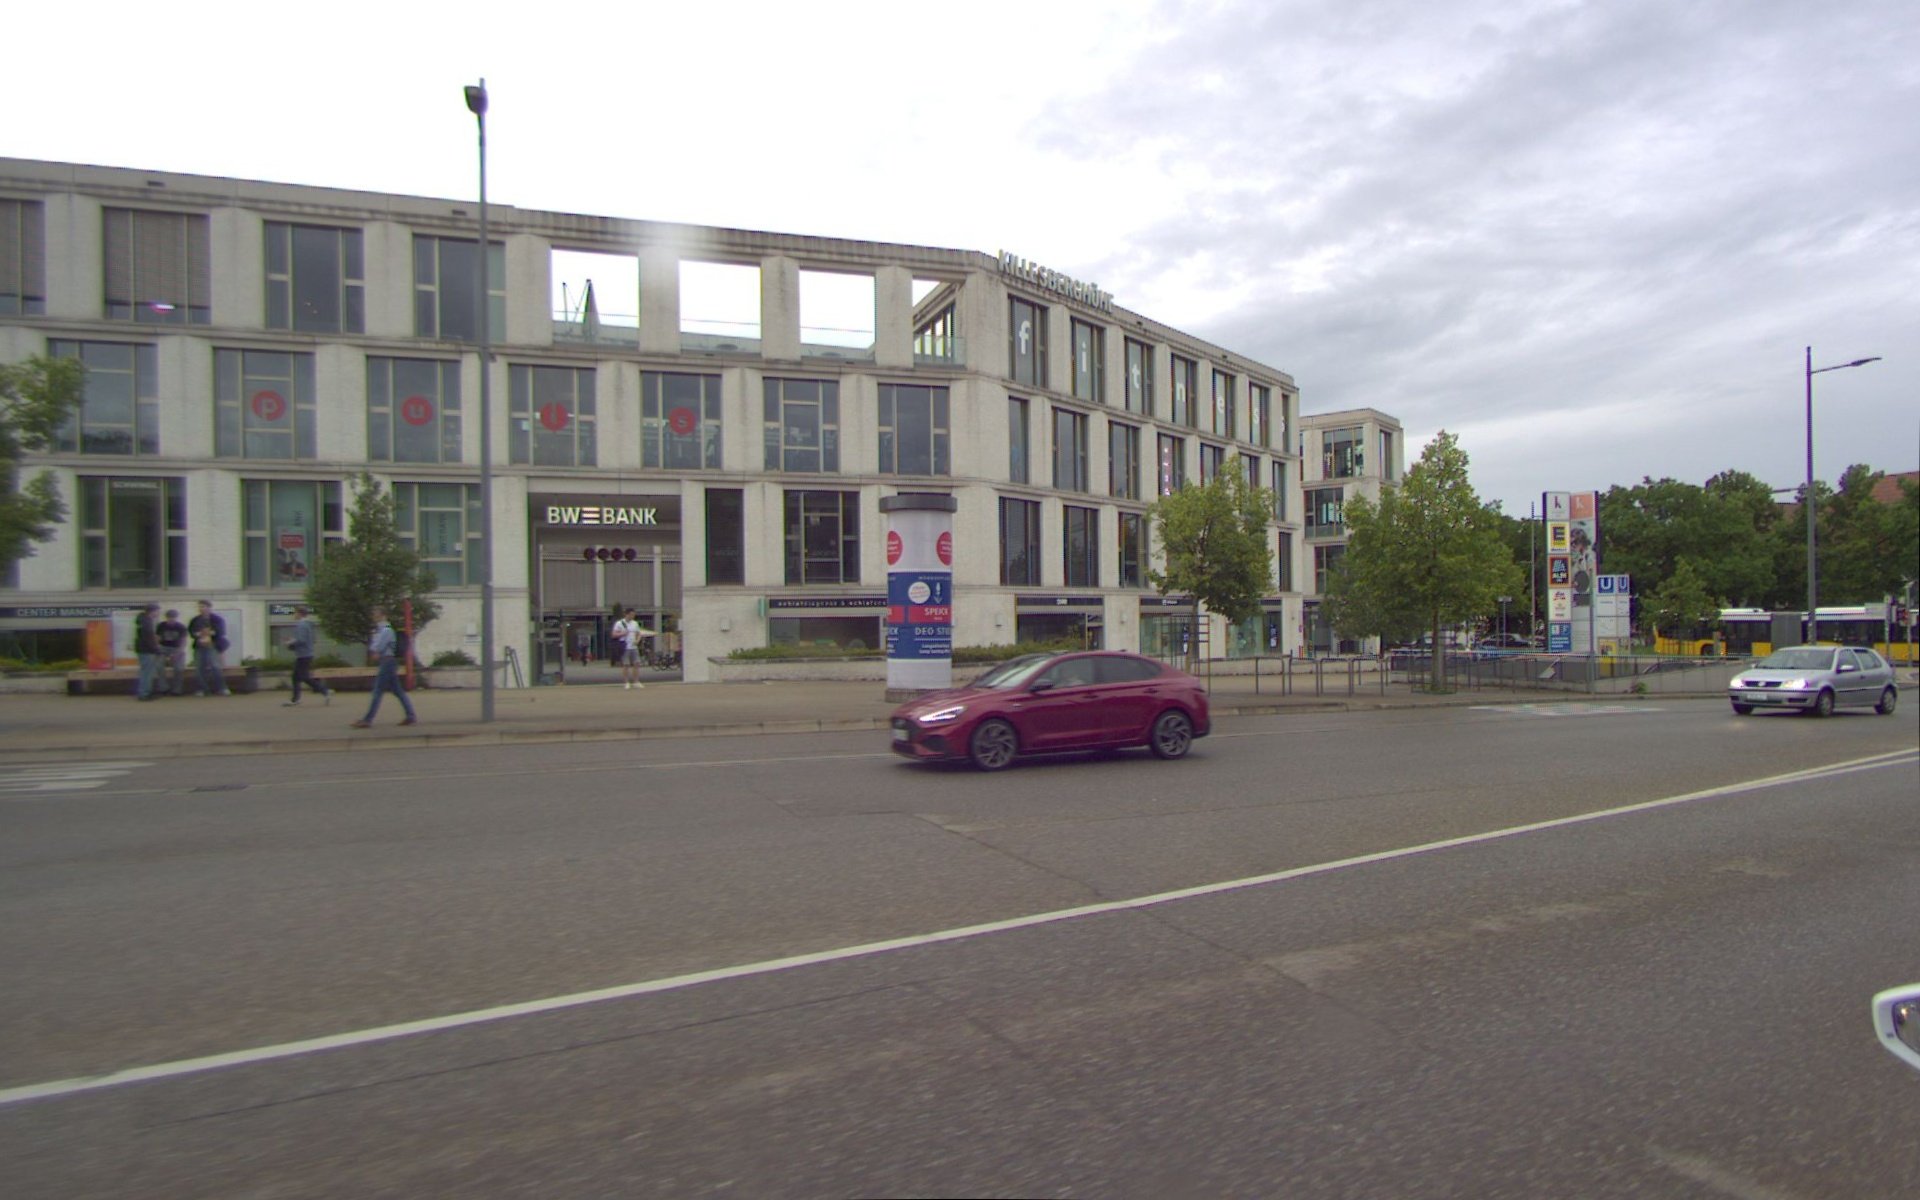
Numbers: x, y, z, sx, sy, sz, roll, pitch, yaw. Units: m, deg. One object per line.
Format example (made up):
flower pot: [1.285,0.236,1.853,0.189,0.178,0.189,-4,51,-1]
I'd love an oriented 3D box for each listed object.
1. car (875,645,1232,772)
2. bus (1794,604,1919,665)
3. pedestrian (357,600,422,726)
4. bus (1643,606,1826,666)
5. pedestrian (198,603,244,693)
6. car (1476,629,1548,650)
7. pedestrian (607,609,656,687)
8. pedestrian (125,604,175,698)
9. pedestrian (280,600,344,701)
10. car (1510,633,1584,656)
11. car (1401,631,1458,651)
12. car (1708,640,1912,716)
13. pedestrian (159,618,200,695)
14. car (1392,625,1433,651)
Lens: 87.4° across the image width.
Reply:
car: [1.246,1.348,13.331,4.404,1.434,1.827,1,-4,-25]
bus: [50.120,1.791,52.628,2.855,3.144,9.709,1,-2,-21]
pedestrian: [-8.746,0.951,15.422,0.735,1.866,0.752,1,-1,-22]
bus: [46.788,2.171,61.067,2.856,3.351,8.529,1,-2,-23]
pedestrian: [-14.664,0.951,19.947,0.612,1.748,0.425,1,-1,-24]
car: [41.078,2.918,74.835,1.973,1.444,4.433,1,-1,-25]
pedestrian: [-7.314,1.059,22.364,0.908,1.712,0.493,2,-1,-41]
pedestrian: [-15.336,0.965,19.028,0.558,1.748,0.523,1,-1,-22]
pedestrian: [-11.780,0.915,18.277,0.845,1.785,0.597,1,-1,-22]
car: [44.231,3.344,75.806,1.973,1.444,4.560,3,-1,-24]
car: [36.504,3.134,78.182,1.646,1.444,3.955,1,-1,-25]
car: [17.706,1.580,20.922,3.825,1.434,1.758,1,-4,-25]
pedestrian: [-15.292,1.099,19.689,0.503,1.470,0.425,1,-1,-24]
car: [31.589,2.604,70.116,1.751,1.754,3.984,-1,-2,37]
